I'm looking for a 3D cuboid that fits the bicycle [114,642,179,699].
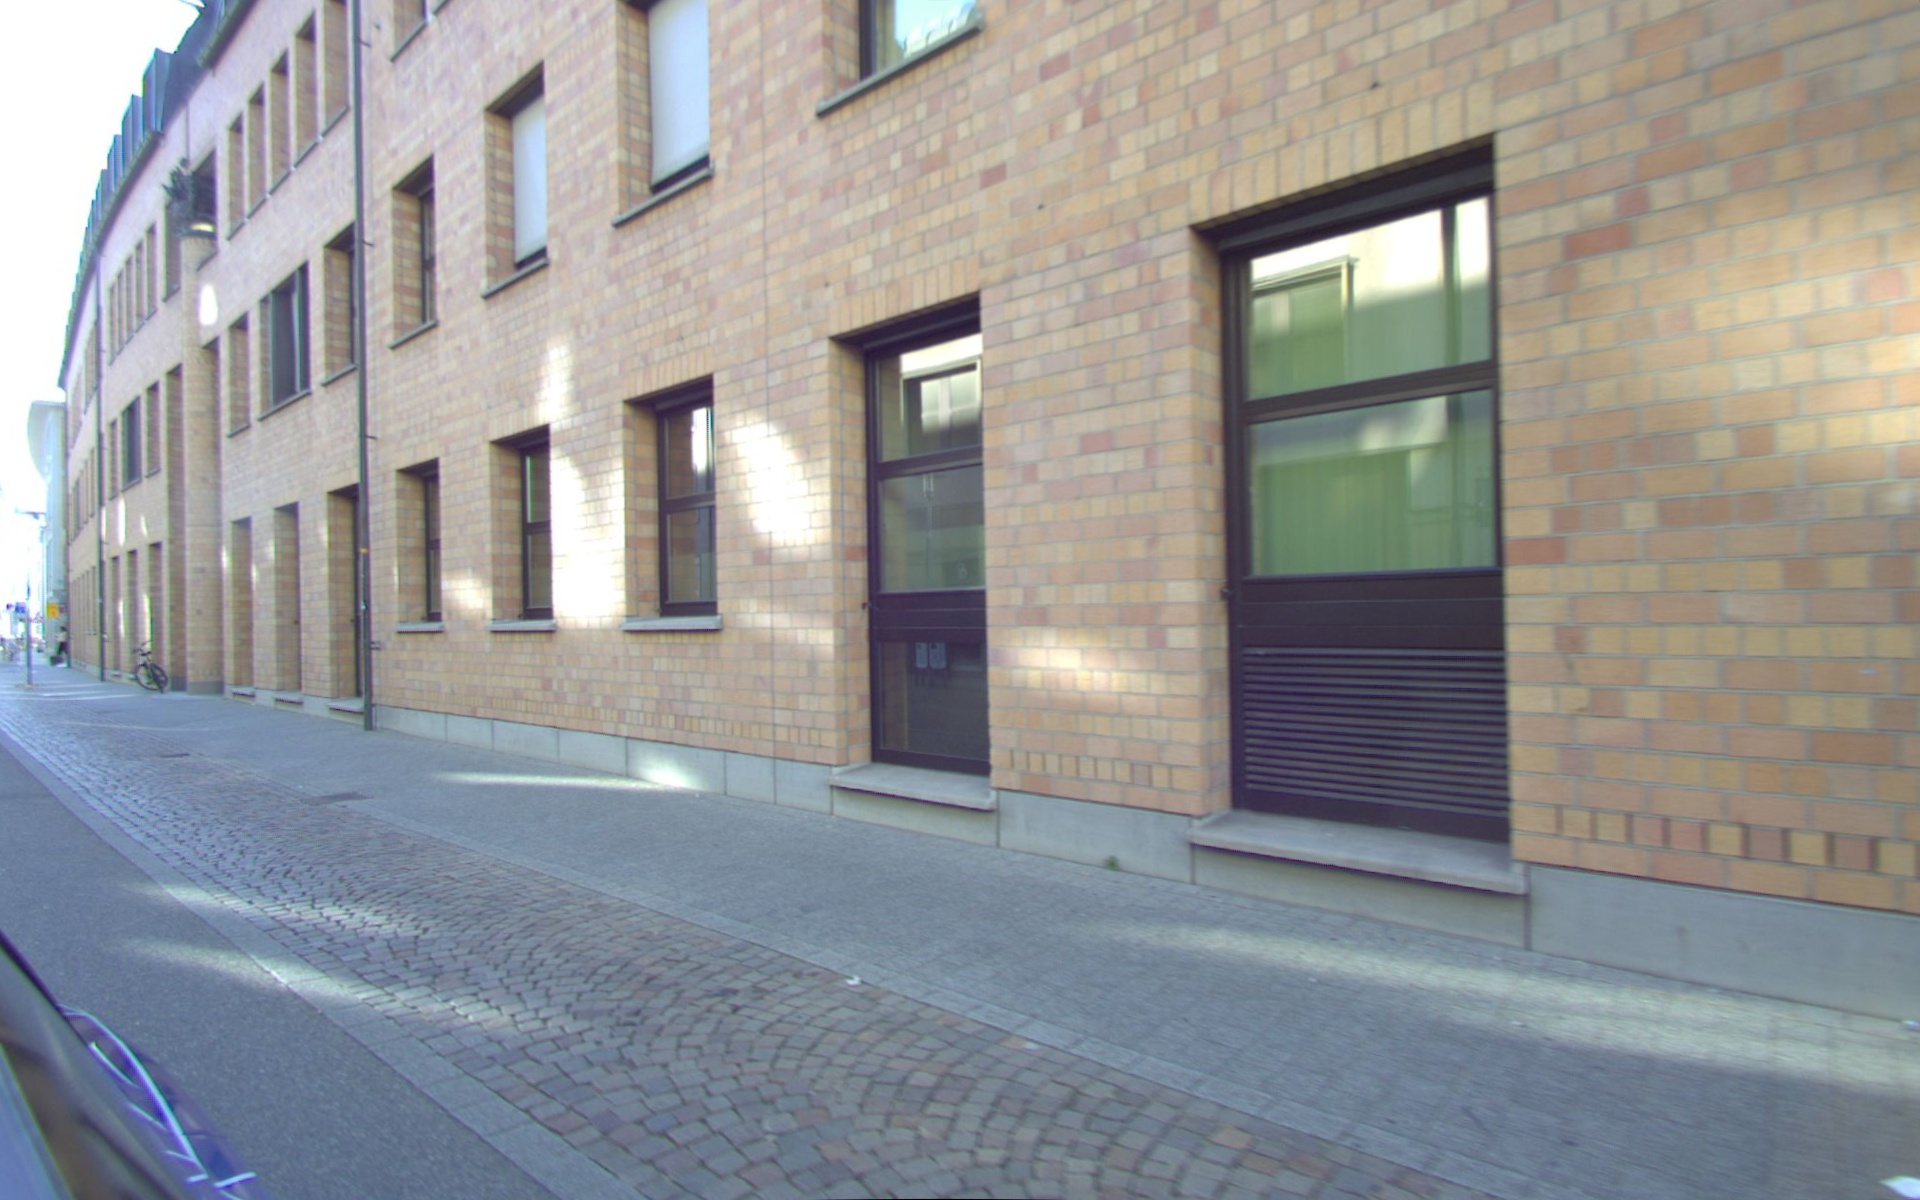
[{"bbox_3d":[-18.229,1.565,22.663,1.800,1.171,0.626,-3,1,36],"label":"bicycle"}]
